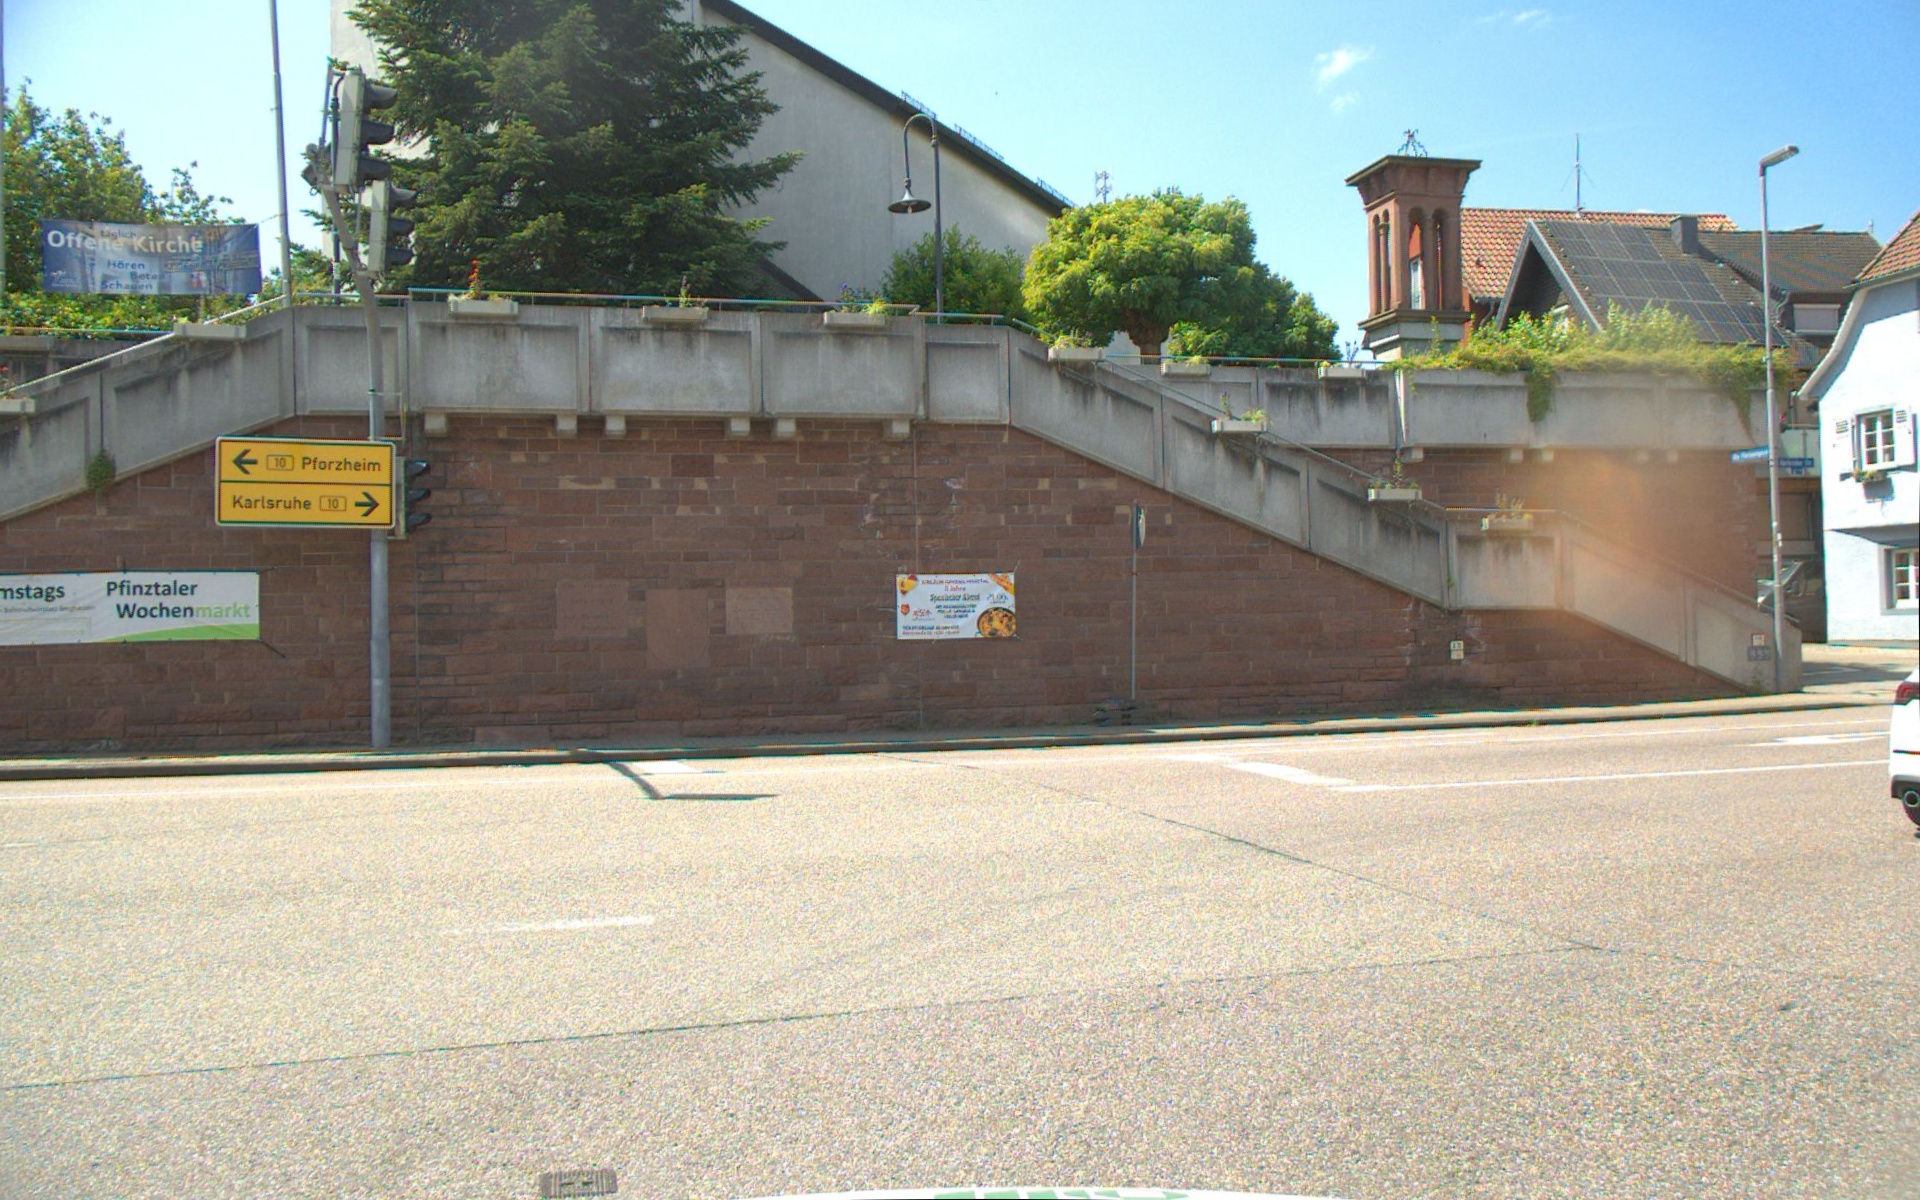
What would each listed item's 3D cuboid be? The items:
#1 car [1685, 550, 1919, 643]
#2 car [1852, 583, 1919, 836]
[{"bbox_3d":[21.061,-0.072,40.121,5.862,2.049,2.520,-1,-2,-7],"label":"car"},{"bbox_3d":[7.504,0.618,10.321,3.813,1.484,1.769,-1,-1,-32],"label":"car"}]
